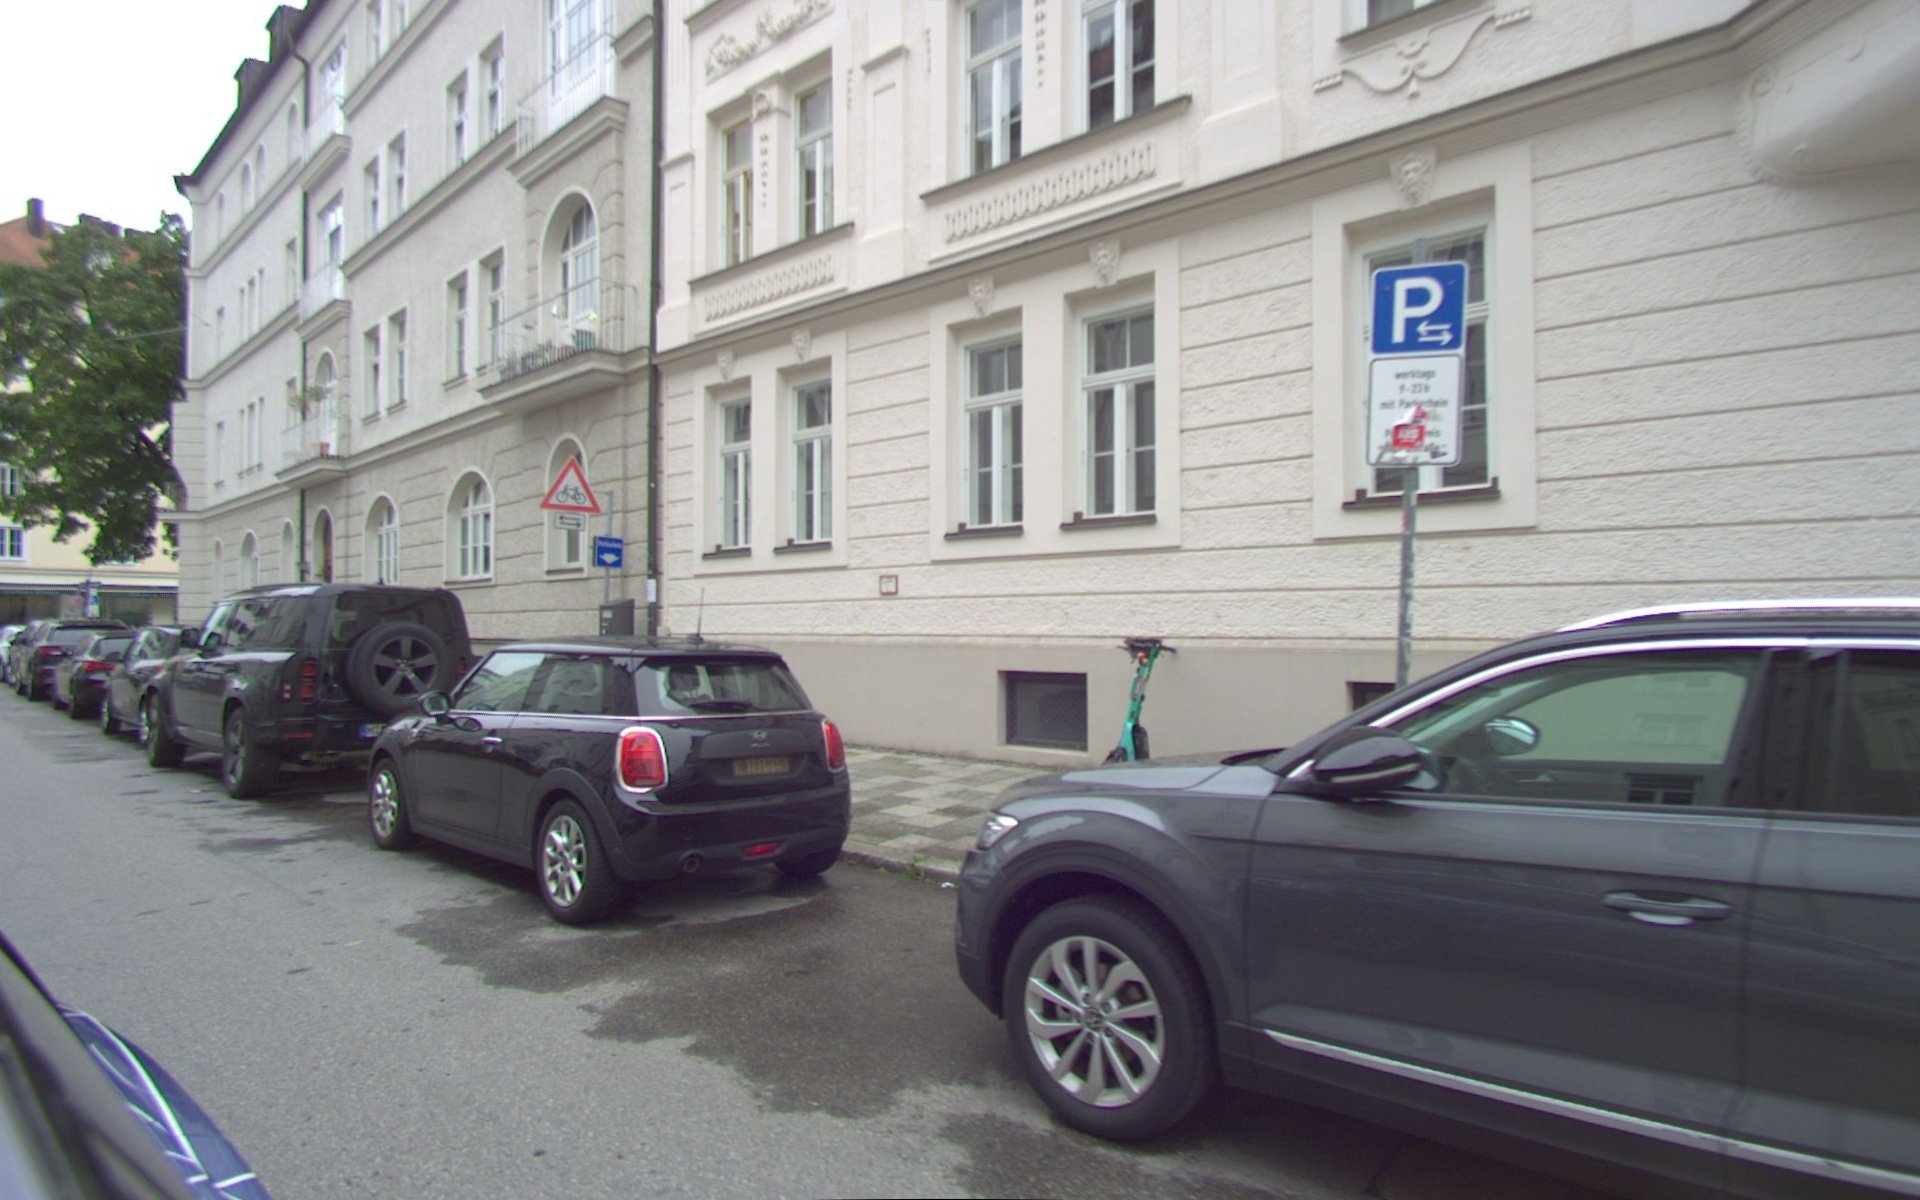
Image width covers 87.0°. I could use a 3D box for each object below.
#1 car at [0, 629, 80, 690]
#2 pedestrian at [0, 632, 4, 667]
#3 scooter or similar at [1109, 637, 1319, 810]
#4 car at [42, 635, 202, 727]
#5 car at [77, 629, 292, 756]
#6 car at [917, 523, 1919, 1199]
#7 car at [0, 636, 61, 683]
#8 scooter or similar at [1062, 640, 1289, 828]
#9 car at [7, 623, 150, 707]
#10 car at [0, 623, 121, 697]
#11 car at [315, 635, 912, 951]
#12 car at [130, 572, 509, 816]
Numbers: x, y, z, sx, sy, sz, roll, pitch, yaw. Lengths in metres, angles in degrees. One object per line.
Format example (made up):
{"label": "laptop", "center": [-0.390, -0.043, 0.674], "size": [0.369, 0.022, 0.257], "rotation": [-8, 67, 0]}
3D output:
{"label": "car", "center": [-26.444, 1.612, 28.539], "size": [3.945, 1.580, 1.678], "rotation": [-1, -1, 37]}
{"label": "pedestrian", "center": [-45.086, 2.314, 46.897], "size": [0.907, 1.623, 0.778], "rotation": [0, -2, -19]}
{"label": "scooter or similar", "center": [1.968, 0.915, 7.987], "size": [1.547, 1.231, 0.488], "rotation": [-2, -2, 41]}
{"label": "car", "center": [-14.758, 1.332, 17.742], "size": [4.092, 1.418, 1.636], "rotation": [-2, -3, 43]}
{"label": "car", "center": [-10.713, 1.179, 13.916], "size": [3.529, 1.525, 1.600], "rotation": [-2, -3, 40]}
{"label": "car", "center": [2.002, 0.723, 2.663], "size": [4.116, 1.631, 1.710], "rotation": [-1, -4, 39]}
{"label": "car", "center": [-29.884, 1.849, 31.888], "size": [4.475, 1.404, 1.664], "rotation": [-2, -3, 40]}
{"label": "scooter or similar", "center": [1.525, 0.906, 7.345], "size": [1.547, 1.209, 0.527], "rotation": [-2, -2, 41]}
{"label": "car", "center": [-18.885, 1.321, 21.617], "size": [4.434, 1.611, 1.855], "rotation": [-2, -2, 43]}
{"label": "car", "center": [-22.783, 1.460, 25.512], "size": [4.209, 1.690, 1.818], "rotation": [-2, -2, 40]}
{"label": "car", "center": [-2.467, 0.960, 6.627], "size": [4.242, 1.405, 1.817], "rotation": [-2, -4, 41]}
{"label": "car", "center": [-6.600, 0.839, 10.191], "size": [4.759, 1.909, 1.818], "rotation": [-2, -4, 40]}
